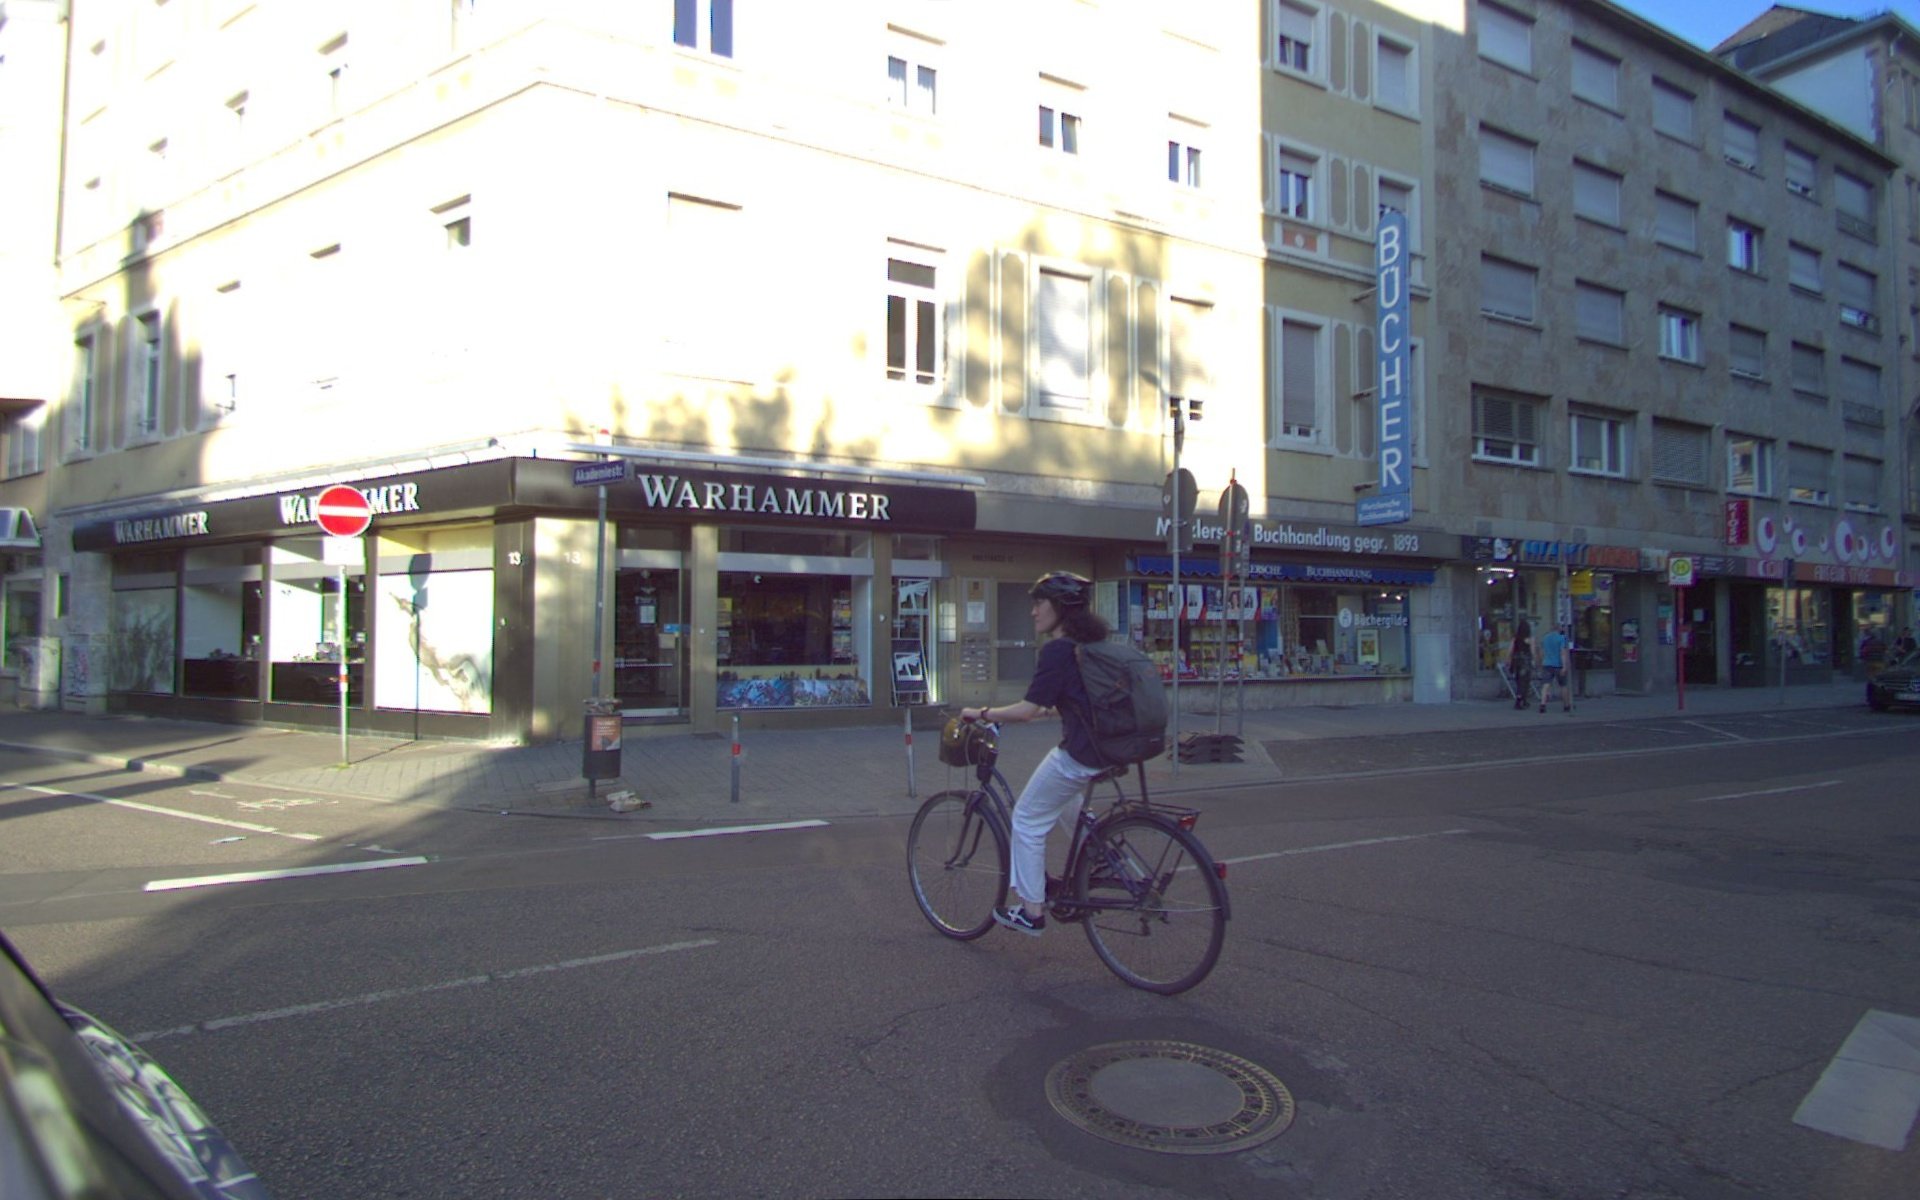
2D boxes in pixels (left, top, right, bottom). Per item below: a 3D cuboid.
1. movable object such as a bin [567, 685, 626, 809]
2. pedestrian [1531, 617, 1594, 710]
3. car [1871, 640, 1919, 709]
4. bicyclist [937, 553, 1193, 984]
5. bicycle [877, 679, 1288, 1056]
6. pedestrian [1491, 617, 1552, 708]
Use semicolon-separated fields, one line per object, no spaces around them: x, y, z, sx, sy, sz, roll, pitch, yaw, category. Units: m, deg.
-3.303;1.319;9.207;0.353;1.072;0.357;-1;-2;21;movable object such as a bin
11.362;1.180;19.090;0.789;1.720;0.667;1;-2;-28;pedestrian
21.475;1.553;21.621;3.932;1.402;1.869;1;-3;-31;car
0.423;0.628;4.271;0.649;1.582;0.865;1;-2;-37;bicyclist
0.406;0.959;4.297;0.655;1.147;1.826;1;-2;-36;bicycle
10.881;1.196;19.621;0.789;1.720;0.667;1;-2;-28;pedestrian
